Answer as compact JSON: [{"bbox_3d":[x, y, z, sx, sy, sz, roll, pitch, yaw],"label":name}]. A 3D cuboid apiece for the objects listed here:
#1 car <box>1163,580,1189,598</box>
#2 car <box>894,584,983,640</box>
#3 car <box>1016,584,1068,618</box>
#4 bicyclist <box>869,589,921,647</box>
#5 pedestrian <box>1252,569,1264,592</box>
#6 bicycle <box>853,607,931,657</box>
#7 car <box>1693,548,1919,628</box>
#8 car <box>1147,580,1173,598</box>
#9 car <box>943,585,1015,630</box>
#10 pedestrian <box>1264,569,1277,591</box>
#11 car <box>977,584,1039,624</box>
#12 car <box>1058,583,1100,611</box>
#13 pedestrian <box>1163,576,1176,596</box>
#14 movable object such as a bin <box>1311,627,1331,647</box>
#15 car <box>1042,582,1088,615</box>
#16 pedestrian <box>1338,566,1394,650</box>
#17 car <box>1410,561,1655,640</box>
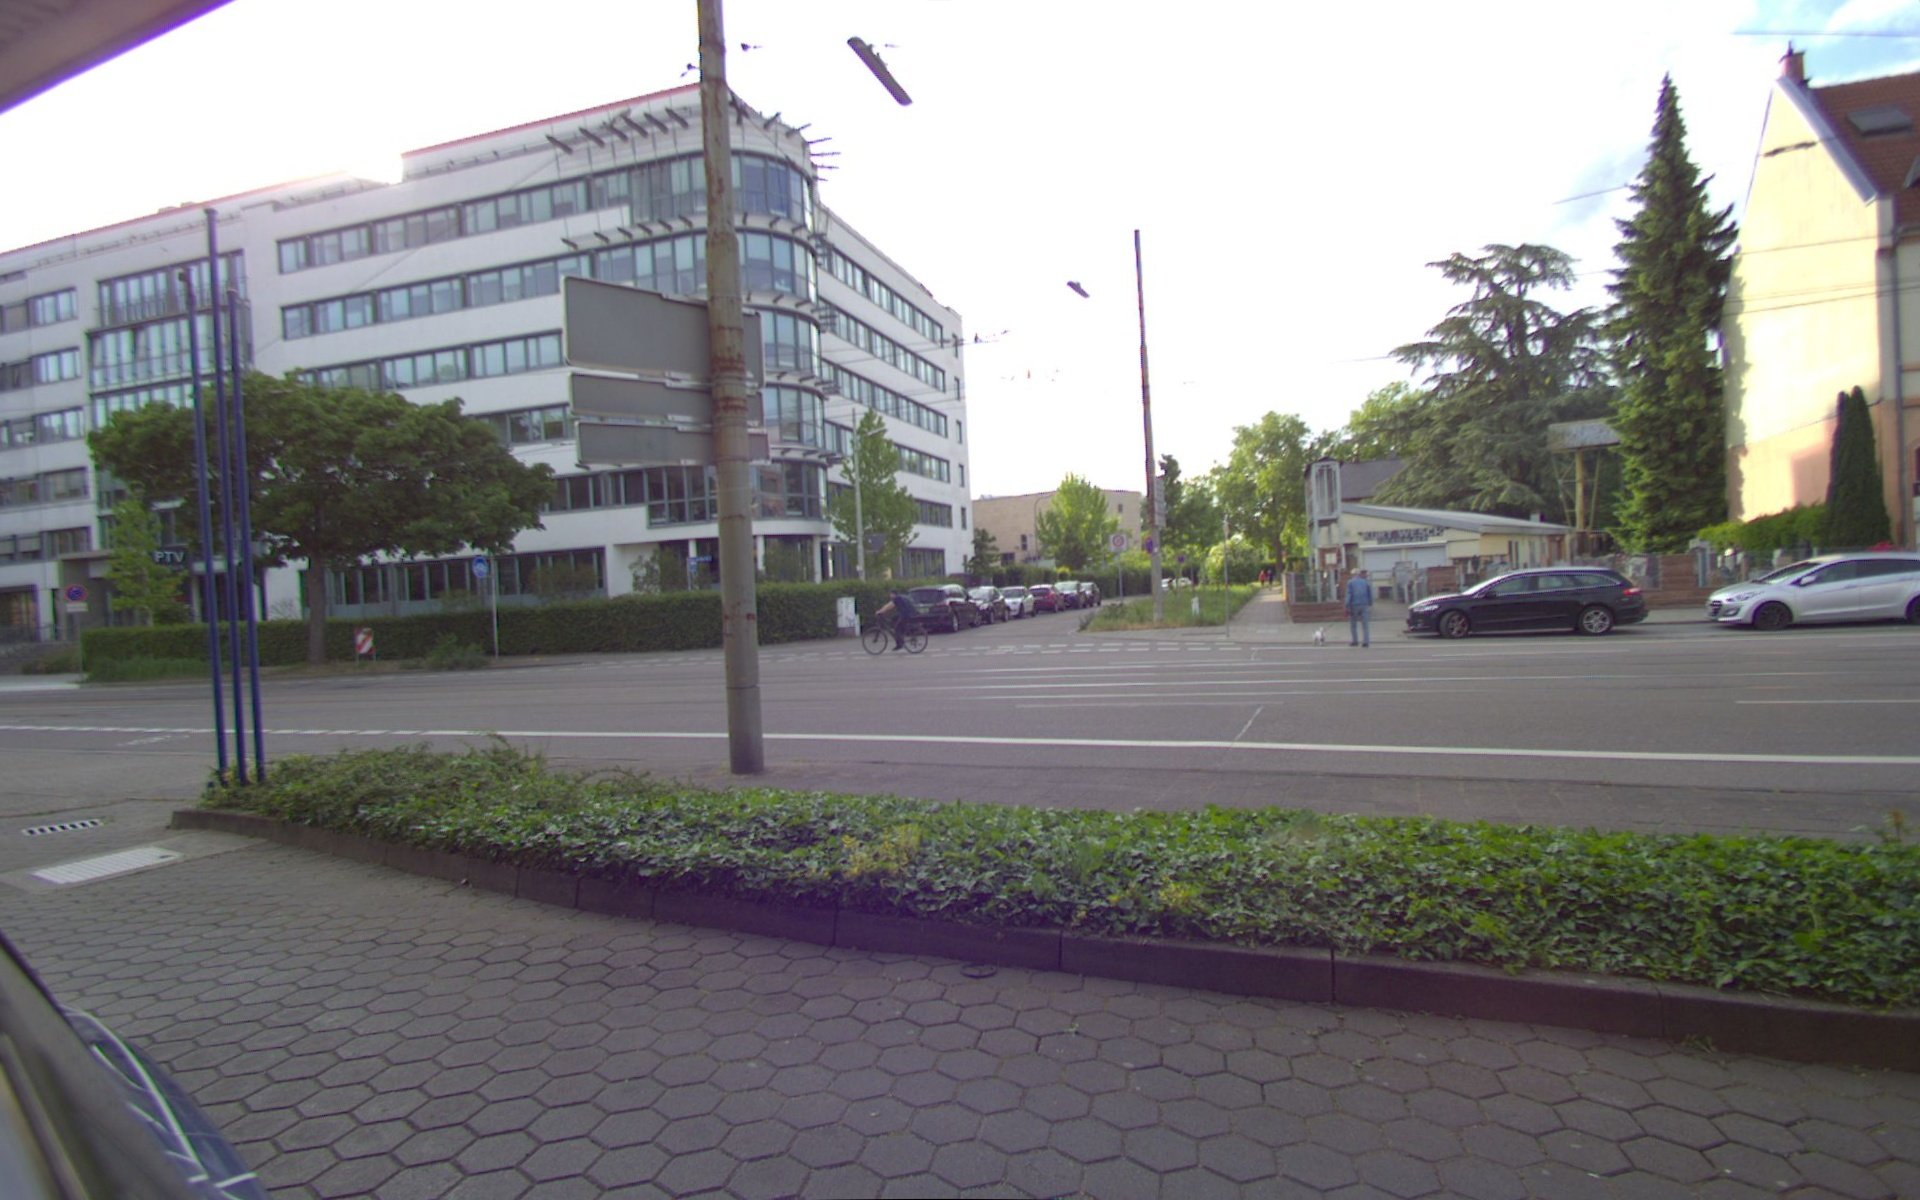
[{"bbox_3d":[22.845,-1.152,106.864,1.813,1.654,4.040,-4,0,25],"label":"car"},{"bbox_3d":[-0.678,0.361,35.576,1.807,1.701,4.370,-4,1,16],"label":"car"},{"bbox_3d":[4.309,0.026,52.417,1.807,1.589,4.175,-4,0,16],"label":"car"},{"bbox_3d":[-1.674,0.463,26.169,1.165,1.462,0.788,-1,0,14],"label":"bicyclist"},{"bbox_3d":[25.432,-1.685,86.387,0.965,1.896,1.056,-1,0,17],"label":"pedestrian"},{"bbox_3d":[-1.754,0.815,26.216,1.864,1.248,0.787,-1,0,14],"label":"bicycle"},{"bbox_3d":[18.415,-0.263,21.407,4.349,1.493,1.732,-3,1,22],"label":"car"},{"bbox_3d":[19.967,-1.131,100.917,1.811,1.654,4.044,-4,0,22],"label":"car"},{"bbox_3d":[0.840,0.274,40.992,1.807,1.589,4.175,-4,0,16],"label":"car"},{"bbox_3d":[26.406,-1.698,86.096,0.965,1.896,1.056,-1,0,17],"label":"pedestrian"},{"bbox_3d":[2.233,0.156,45.696,1.807,1.589,4.175,-4,0,16],"label":"car"},{"bbox_3d":[7.395,-0.209,62.581,1.807,1.585,4.052,-4,0,16],"label":"car"},{"bbox_3d":[20.285,-1.321,97.919,0.970,1.896,1.050,-1,0,31],"label":"pedestrian"},{"bbox_3d":[8.205,0.844,23.006,0.363,0.397,0.660,-3,1,15],"label":"movable object such as a bin"},{"bbox_3d":[6.040,-0.132,57.815,1.807,1.704,4.392,-4,0,16],"label":"car"},{"bbox_3d":[8.707,0.161,21.741,0.901,1.712,0.921,-3,1,14],"label":"pedestrian"},{"bbox_3d":[13.022,0.012,23.378,4.632,1.533,1.842,-3,2,22],"label":"car"}]
